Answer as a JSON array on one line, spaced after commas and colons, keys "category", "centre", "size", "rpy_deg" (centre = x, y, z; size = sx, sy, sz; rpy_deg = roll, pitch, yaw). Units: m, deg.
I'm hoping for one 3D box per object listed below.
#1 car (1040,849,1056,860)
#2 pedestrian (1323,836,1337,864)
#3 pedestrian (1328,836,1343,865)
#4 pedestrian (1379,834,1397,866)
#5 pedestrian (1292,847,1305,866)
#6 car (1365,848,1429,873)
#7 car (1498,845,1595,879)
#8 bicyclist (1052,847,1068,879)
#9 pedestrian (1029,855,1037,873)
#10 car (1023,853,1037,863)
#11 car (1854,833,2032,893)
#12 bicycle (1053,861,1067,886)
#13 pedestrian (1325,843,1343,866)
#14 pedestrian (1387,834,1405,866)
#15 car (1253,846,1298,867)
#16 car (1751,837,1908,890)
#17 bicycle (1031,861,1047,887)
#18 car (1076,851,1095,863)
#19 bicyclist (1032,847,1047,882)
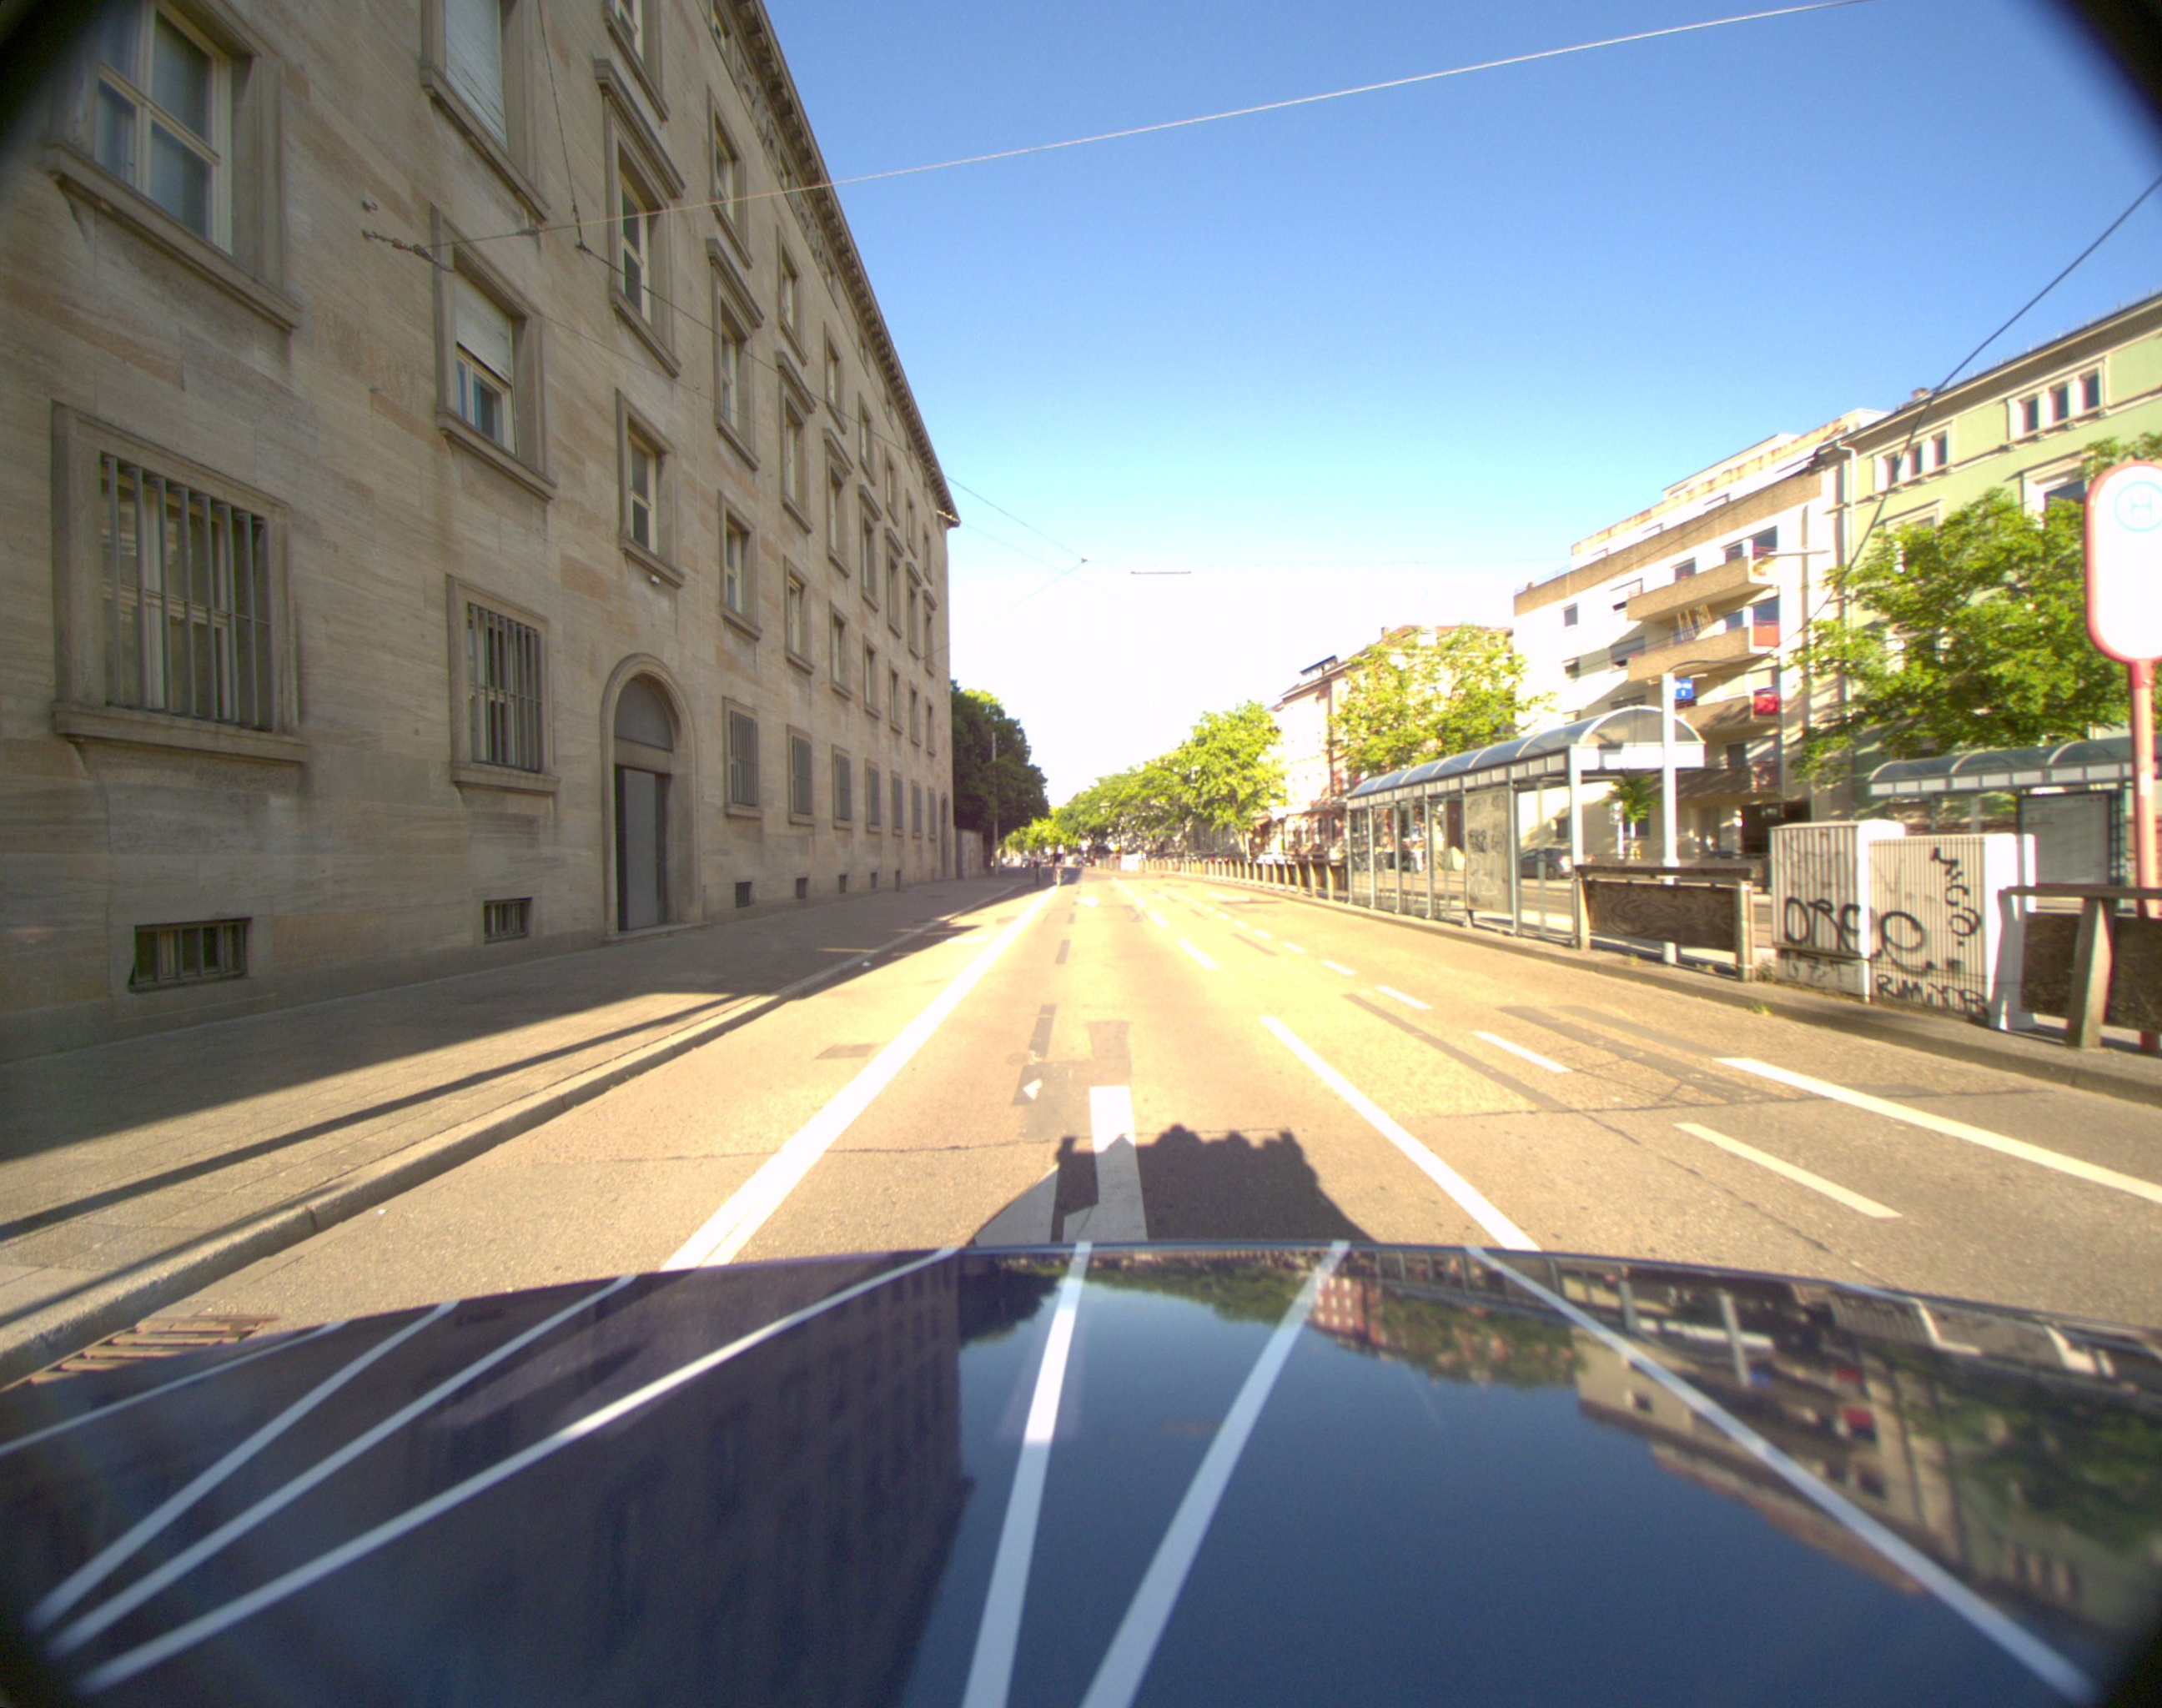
[{"category": "car", "centre": [-5.956, 0.093, 136.404], "size": [2.001, 1.789, 3.995], "rpy_deg": [-1, 0, -13]}, {"category": "pedestrian", "centre": [19.408, -0.292, 59.267], "size": [0.812, 2.194, 0.756], "rpy_deg": [-1, 1, -4]}, {"category": "pedestrian", "centre": [19.328, -0.272, 57.791], "size": [0.813, 2.194, 0.756], "rpy_deg": [-1, 1, -10]}, {"category": "pedestrian", "centre": [21.192, -0.283, 52.439], "size": [0.813, 2.194, 0.756], "rpy_deg": [-1, 1, -10]}, {"category": "pedestrian", "centre": [18.305, 0.202, 63.915], "size": [0.866, 1.619, 0.893], "rpy_deg": [-1, 1, 31]}, {"category": "car", "centre": [18.501, 0.346, 44.658], "size": [1.609, 1.388, 3.996], "rpy_deg": [-1, 0, -9]}, {"category": "car", "centre": [20.874, 0.349, 34.247], "size": [1.654, 1.419, 3.737], "rpy_deg": [-1, 0, -11]}, {"category": "bicyclist", "centre": [-1.030, 0.436, 36.885], "size": [0.728, 1.570, 0.775], "rpy_deg": [0, 1, 1]}, {"category": "pedestrian", "centre": [-3.729, 0.763, 58.879], "size": [0.548, 1.327, 0.587], "rpy_deg": [-1, 1, 7]}, {"category": "car", "centre": [-7.378, 0.562, 109.191], "size": [1.772, 1.429, 3.831], "rpy_deg": [-1, 0, -7]}, {"category": "car", "centre": [24.734, 0.231, 21.837], "size": [4.002, 1.573, 1.761], "rpy_deg": [-1, 0, -14]}, {"category": "bicycle", "centre": [-1.028, 0.922, 36.823], "size": [0.625, 1.167, 1.566], "rpy_deg": [0, 0, 1]}, {"category": "pedestrian", "centre": [18.433, 0.037, 55.318], "size": [0.855, 1.710, 1.019], "rpy_deg": [-1, 1, -9]}, {"category": "pedestrian", "centre": [21.303, -0.277, 51.454], "size": [0.813, 2.194, 0.756], "rpy_deg": [-1, 1, -10]}, {"category": "car", "centre": [16.318, 0.184, 63.658], "size": [4.134, 1.698, 1.848], "rpy_deg": [-1, 1, -45]}, {"category": "car", "centre": [23.961, 0.273, 24.355], "size": [4.002, 1.573, 1.761], "rpy_deg": [-1, 0, -14]}, {"category": "bicycle", "centre": [-2.106, 0.981, 38.491], "size": [0.625, 1.214, 1.659], "rpy_deg": [-3, 1, 1]}, {"category": "car", "centre": [0.569, 0.397, 102.753], "size": [1.648, 1.480, 3.995], "rpy_deg": [-2, 1, -12]}, {"category": "bicyclist", "centre": [-2.124, 0.515, 38.656], "size": [0.625, 1.729, 0.688], "rpy_deg": [-3, 1, 1]}]
